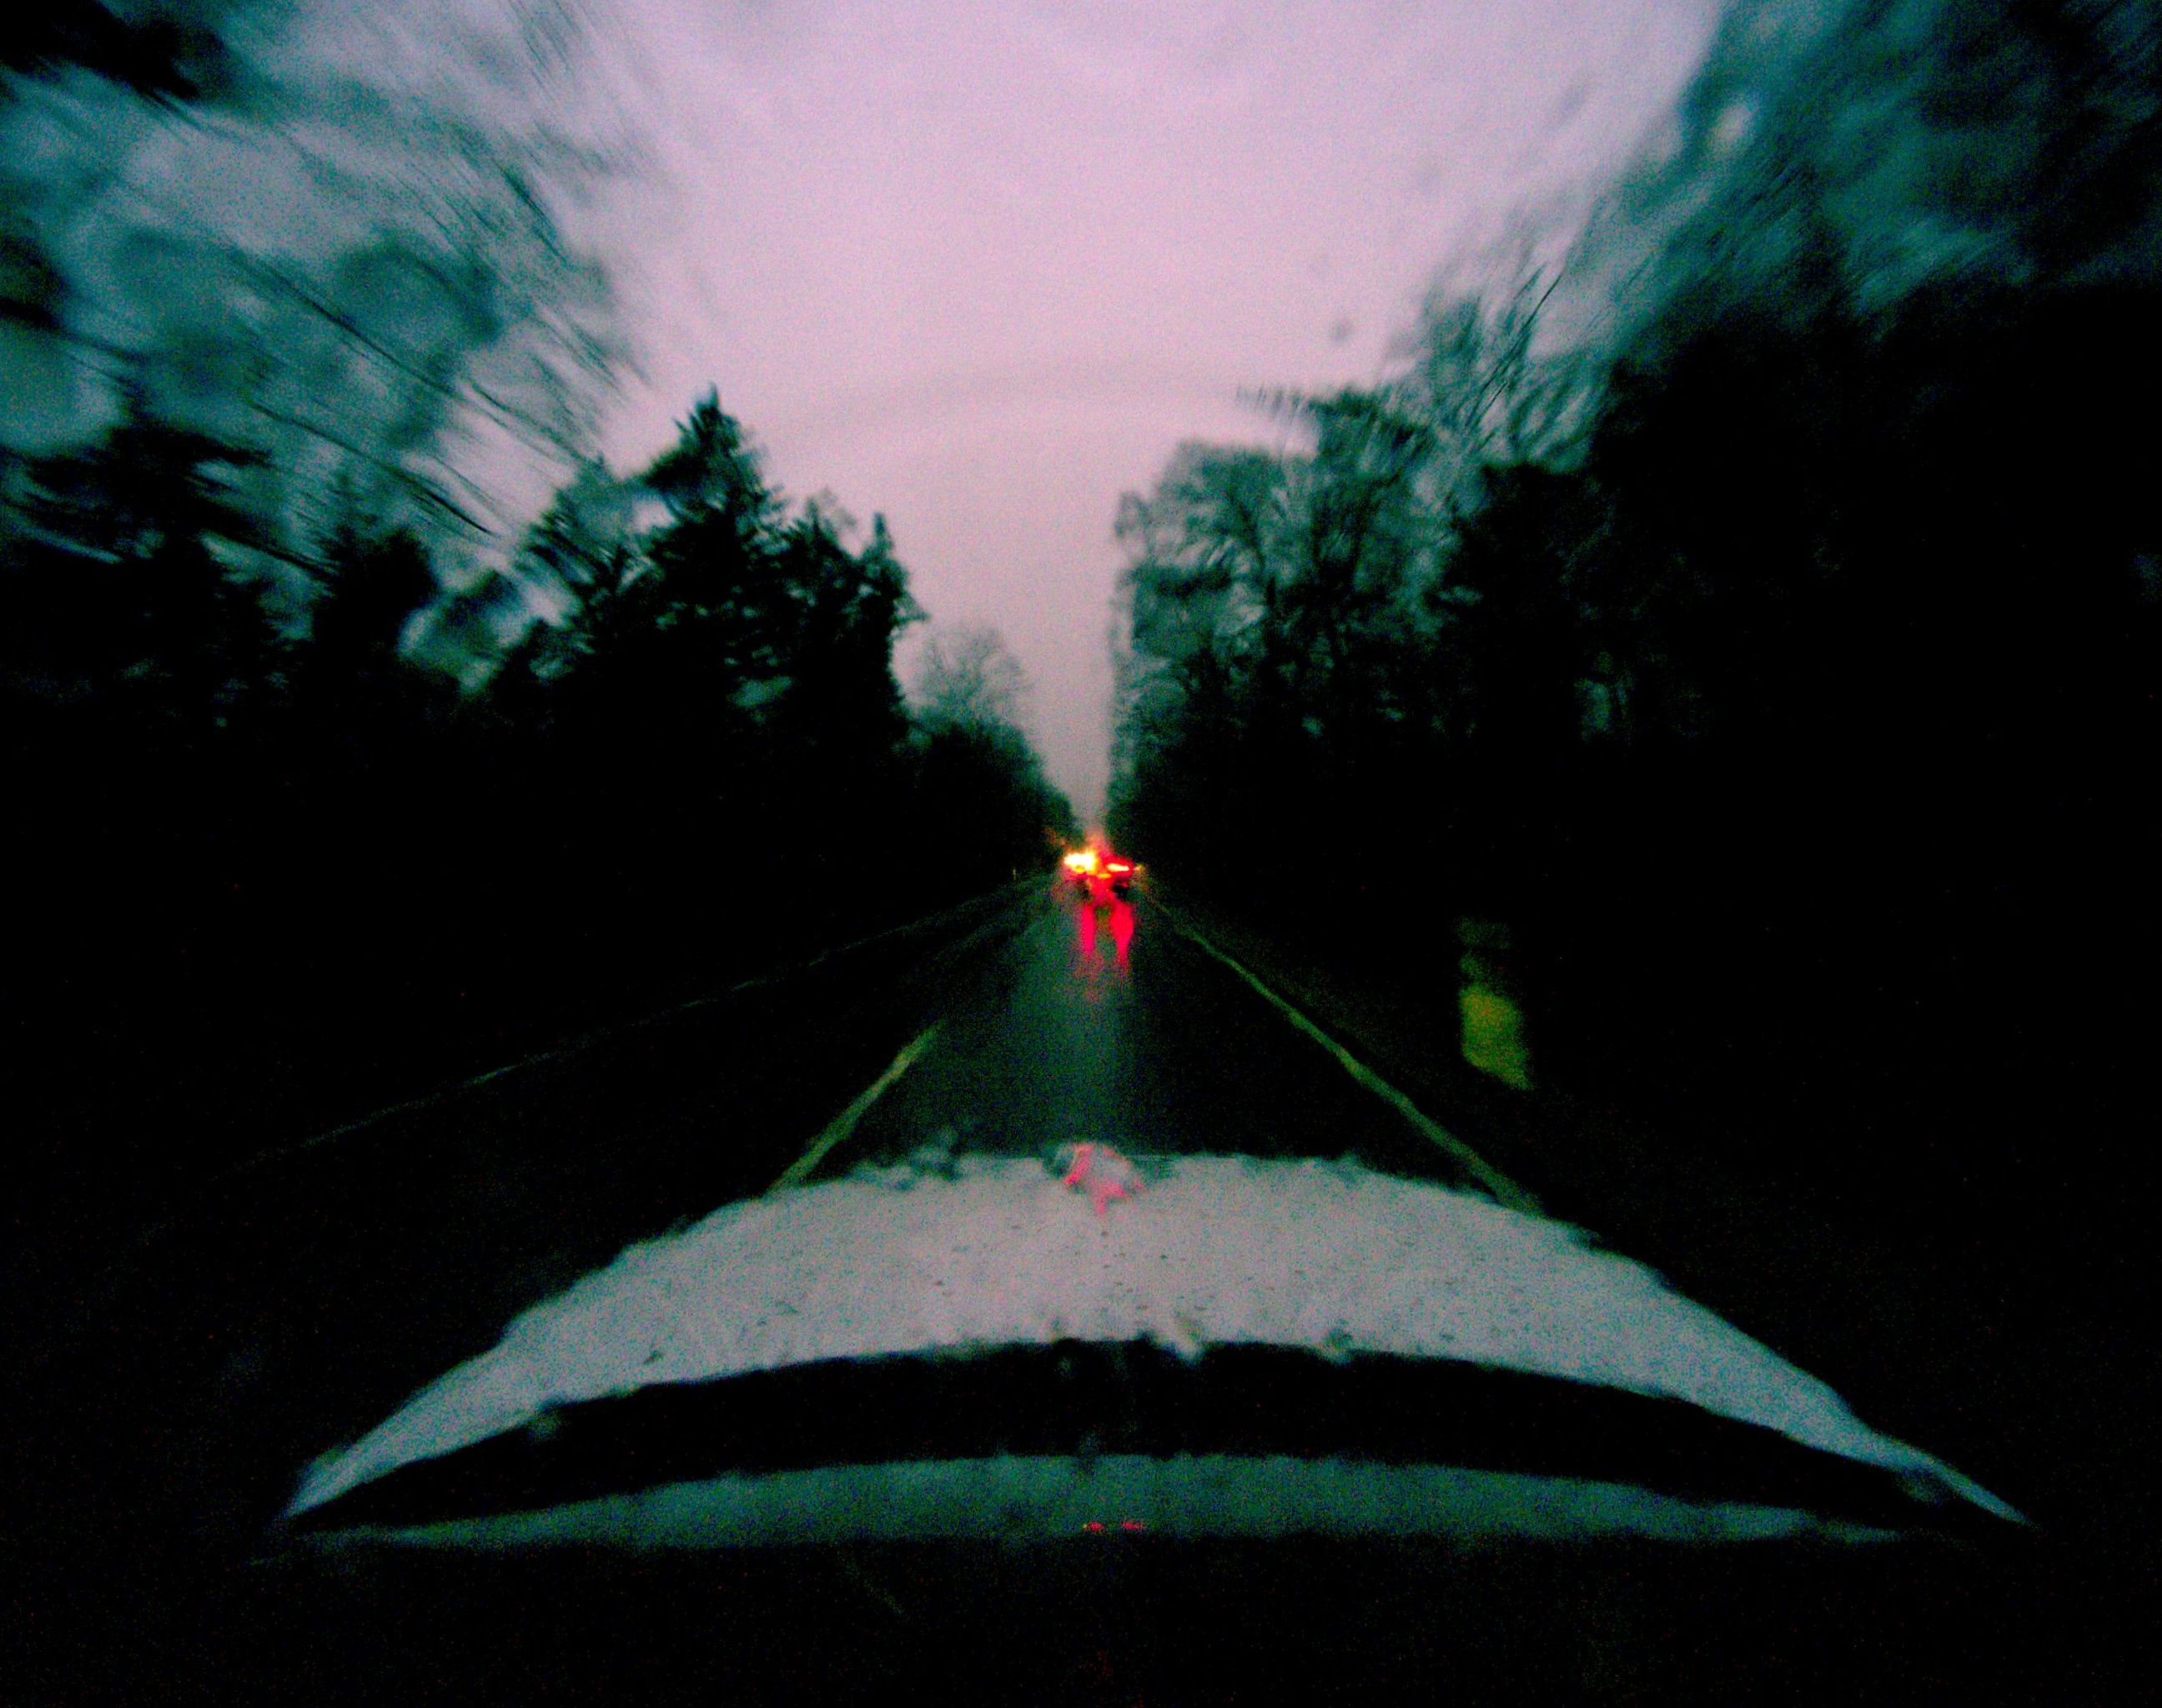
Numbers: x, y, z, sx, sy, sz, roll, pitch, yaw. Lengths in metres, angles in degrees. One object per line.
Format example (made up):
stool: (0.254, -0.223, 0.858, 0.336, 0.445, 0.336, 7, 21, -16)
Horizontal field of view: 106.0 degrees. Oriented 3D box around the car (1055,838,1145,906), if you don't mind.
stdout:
car: (0.776, 0.648, 32.261, 3.171, 2.386, 6.639, 0, 0, 2)
